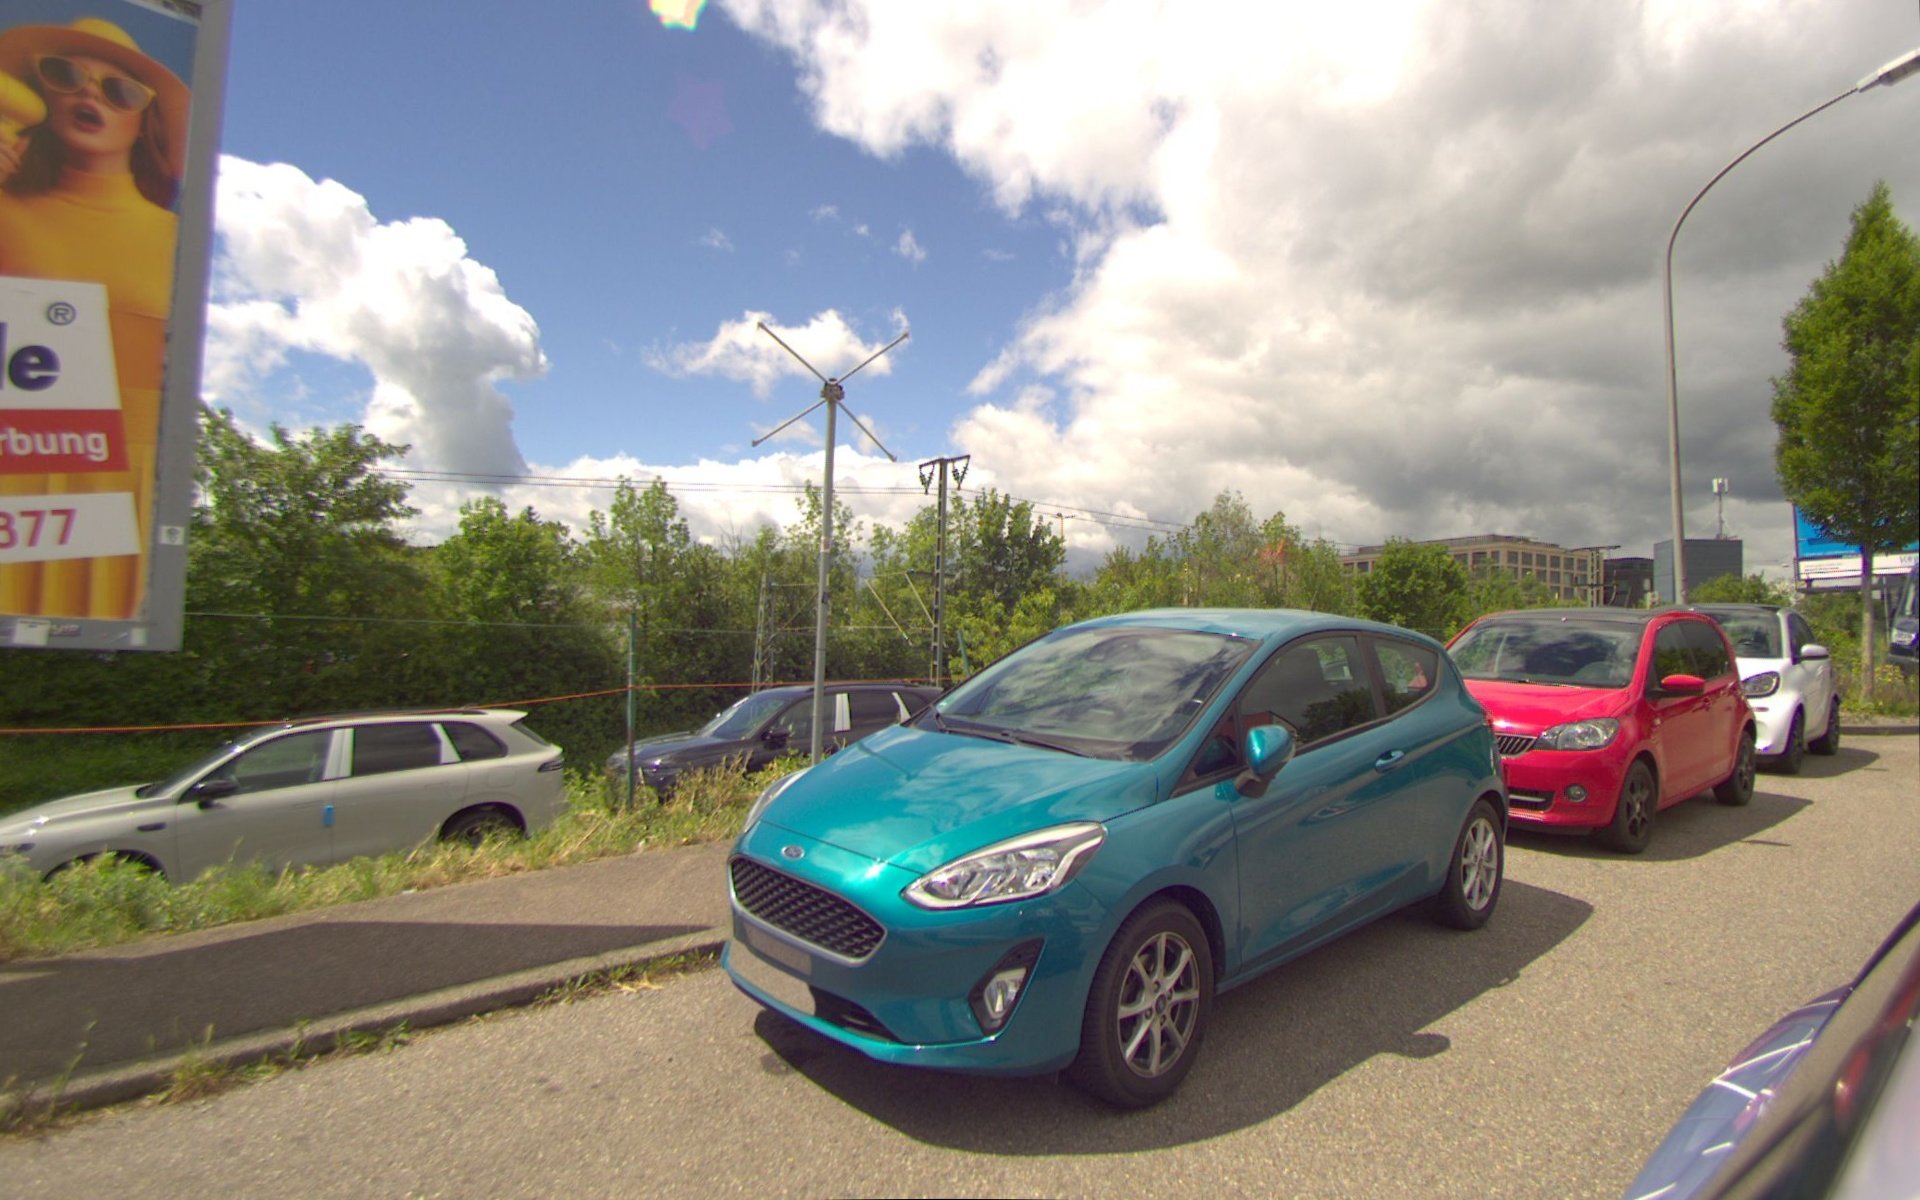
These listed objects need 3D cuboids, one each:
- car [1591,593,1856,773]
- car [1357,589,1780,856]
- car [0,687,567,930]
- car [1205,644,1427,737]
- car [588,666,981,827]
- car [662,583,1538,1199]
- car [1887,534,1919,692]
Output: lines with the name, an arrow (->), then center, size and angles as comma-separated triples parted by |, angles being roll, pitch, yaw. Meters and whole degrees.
car -> 7.765, 0.719, 10.240 | 2.808, 1.542, 1.595 | 0, -1, -41
car -> 4.554, 0.692, 7.413 | 3.437, 1.500, 1.596 | 0, -1, -39
car -> -6.245, 1.737, 9.480 | 4.471, 1.460, 1.821 | 0, 0, -38
car -> 6.785, 1.605, 19.090 | 4.471, 1.368, 1.821 | 0, 0, -38
car -> -2.043, 1.649, 12.518 | 4.471, 1.368, 1.821 | 0, 0, -38
car -> 0.914, 0.700, 4.315 | 3.911, 1.469, 1.594 | 0, -1, -43
car -> 18.563, 0.217, 17.985 | 5.628, 2.627, 2.060 | 0, 0, -37
